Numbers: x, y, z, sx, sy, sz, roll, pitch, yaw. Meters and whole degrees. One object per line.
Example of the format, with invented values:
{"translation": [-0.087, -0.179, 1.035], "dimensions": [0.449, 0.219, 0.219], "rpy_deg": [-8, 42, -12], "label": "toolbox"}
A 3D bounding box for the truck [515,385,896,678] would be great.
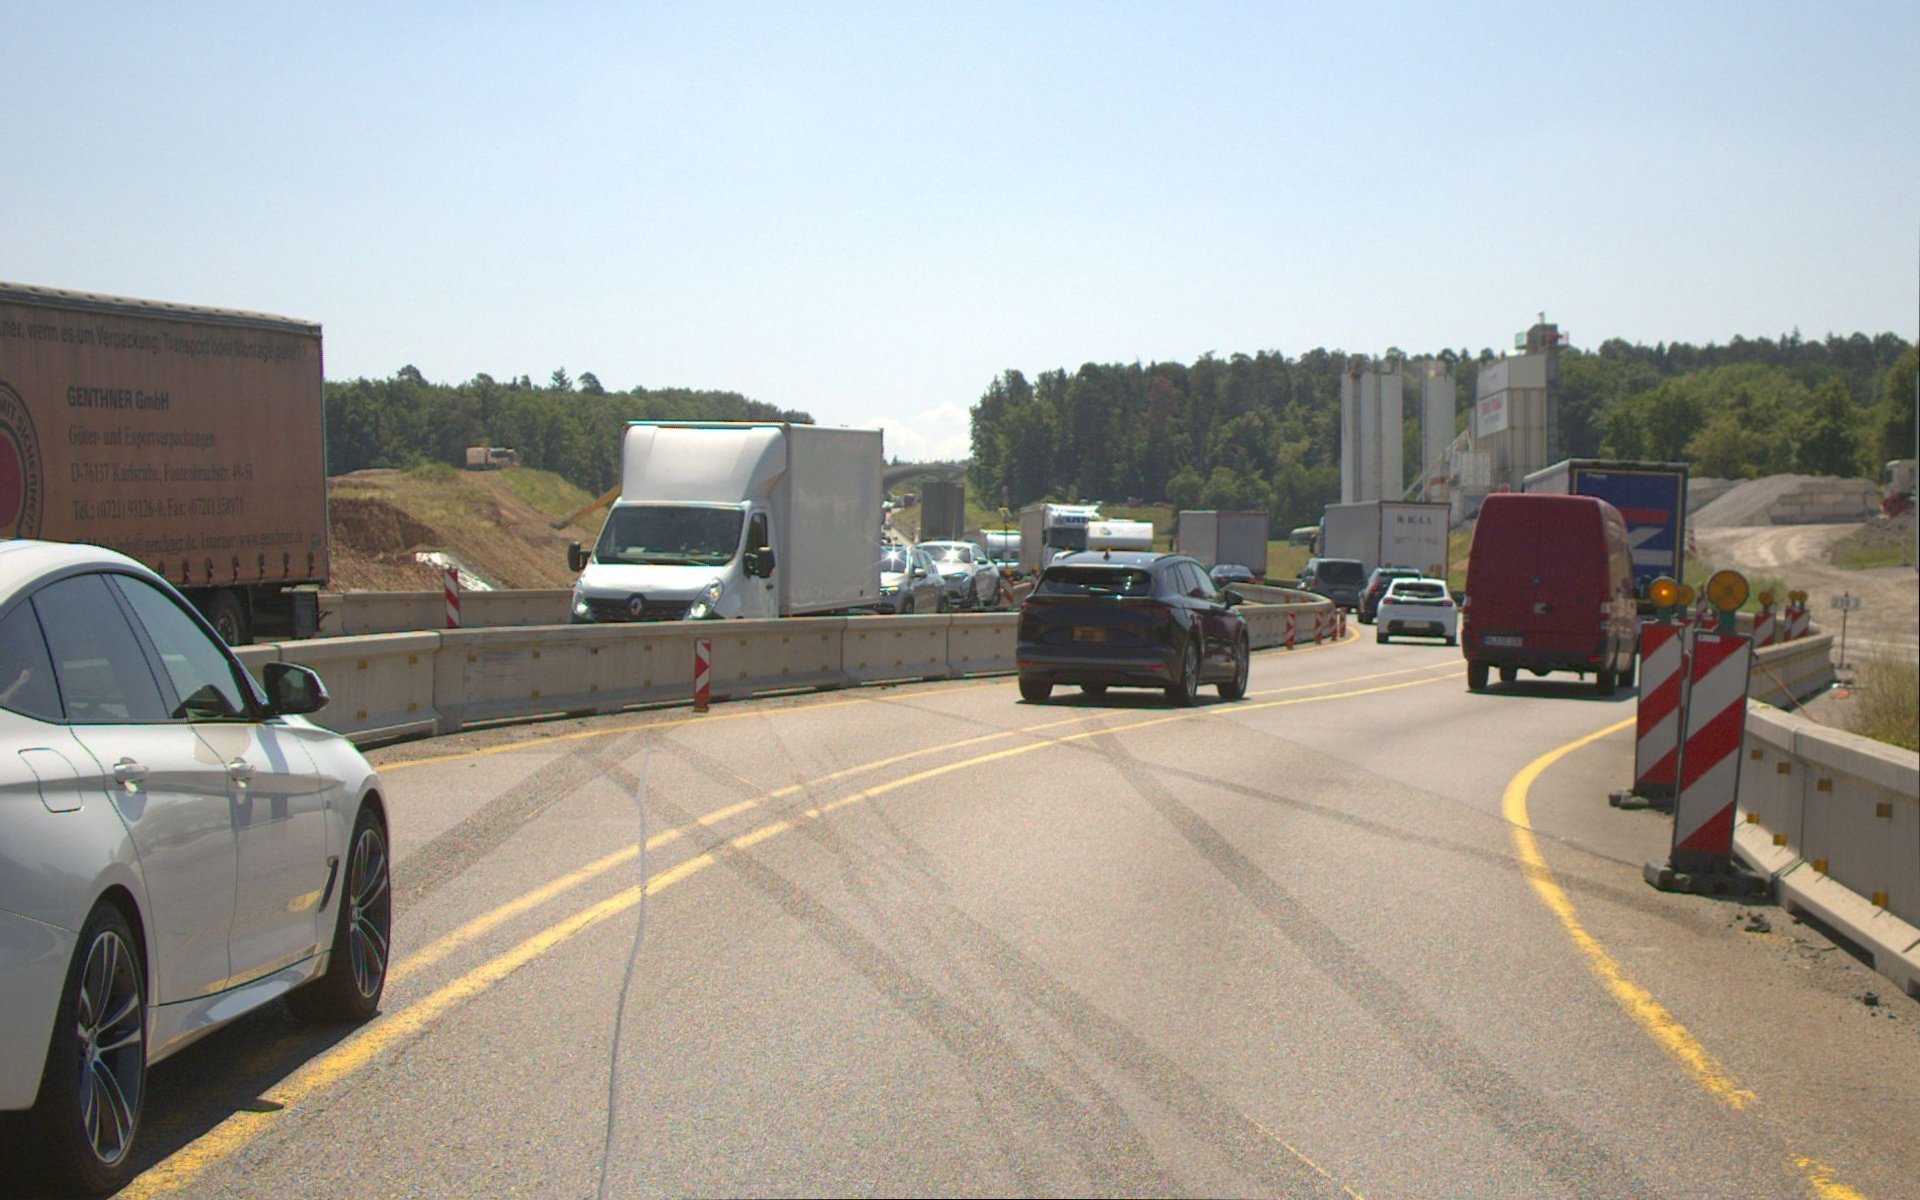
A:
{"translation": [-3.025, -0.843, 43.131], "dimensions": [2.581, 3.369, 6.923], "rpy_deg": [1, 1, 15], "label": "truck"}

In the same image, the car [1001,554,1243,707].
{"translation": [1.805, 0.282, 36.966], "dimensions": [1.796, 1.529, 3.928], "rpy_deg": [1, 1, 15], "label": "car"}

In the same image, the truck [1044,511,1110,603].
{"translation": [5.306, -1.950, 155.237], "dimensions": [2.702, 4.048, 5.500], "rpy_deg": [1, 1, 5], "label": "truck"}

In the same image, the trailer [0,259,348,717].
{"translation": [-9.538, -1.054, 33.607], "dimensions": [2.588, 4.138, 13.059], "rpy_deg": [1, 1, 10], "label": "trailer"}

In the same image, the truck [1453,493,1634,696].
{"translation": [8.214, -0.122, 47.946], "dimensions": [2.113, 2.624, 6.480], "rpy_deg": [1, 1, 13], "label": "truck"}

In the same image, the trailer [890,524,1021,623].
{"translation": [-0.057, -0.571, 73.010], "dimensions": [1.867, 2.015, 4.433], "rpy_deg": [1, 1, 12], "label": "trailer"}

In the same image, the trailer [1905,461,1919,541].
{"translation": [51.340, -5.088, 176.297], "dimensions": [2.755, 4.100, 6.748], "rpy_deg": [0, 1, -12], "label": "trailer"}

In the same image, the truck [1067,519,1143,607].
{"translation": [5.199, -1.360, 124.081], "dimensions": [2.441, 3.061, 7.248], "rpy_deg": [1, 1, 0], "label": "truck"}

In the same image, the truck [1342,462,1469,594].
{"translation": [16.448, -2.629, 127.630], "dimensions": [3.683, 4.675, 9.752], "rpy_deg": [1, 1, 2], "label": "truck"}

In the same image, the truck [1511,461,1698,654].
{"translation": [14.609, -0.982, 78.521], "dimensions": [3.016, 4.138, 8.272], "rpy_deg": [1, 1, 3], "label": "truck"}

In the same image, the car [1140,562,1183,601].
{"translation": [8.657, -0.805, 147.441], "dimensions": [1.660, 1.600, 4.395], "rpy_deg": [1, 1, 6], "label": "car"}

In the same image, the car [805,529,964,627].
{"translation": [-1.415, -0.446, 66.902], "dimensions": [1.867, 1.800, 4.903], "rpy_deg": [-1, 1, 14], "label": "car"}

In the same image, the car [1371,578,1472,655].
{"translation": [10.043, 0.343, 74.981], "dimensions": [1.802, 1.574, 4.000], "rpy_deg": [1, 1, 2], "label": "car"}

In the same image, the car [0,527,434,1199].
{"translation": [-2.748, 0.577, 9.093], "dimensions": [1.795, 1.529, 5.073], "rpy_deg": [1, 1, 2], "label": "car"}

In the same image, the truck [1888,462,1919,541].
{"translation": [50.677, -5.129, 179.410], "dimensions": [2.744, 4.082, 4.102], "rpy_deg": [0, 1, -12], "label": "truck"}

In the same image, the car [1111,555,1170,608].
{"translation": [5.805, -0.609, 110.213], "dimensions": [1.720, 1.622, 4.335], "rpy_deg": [1, 1, 5], "label": "car"}
